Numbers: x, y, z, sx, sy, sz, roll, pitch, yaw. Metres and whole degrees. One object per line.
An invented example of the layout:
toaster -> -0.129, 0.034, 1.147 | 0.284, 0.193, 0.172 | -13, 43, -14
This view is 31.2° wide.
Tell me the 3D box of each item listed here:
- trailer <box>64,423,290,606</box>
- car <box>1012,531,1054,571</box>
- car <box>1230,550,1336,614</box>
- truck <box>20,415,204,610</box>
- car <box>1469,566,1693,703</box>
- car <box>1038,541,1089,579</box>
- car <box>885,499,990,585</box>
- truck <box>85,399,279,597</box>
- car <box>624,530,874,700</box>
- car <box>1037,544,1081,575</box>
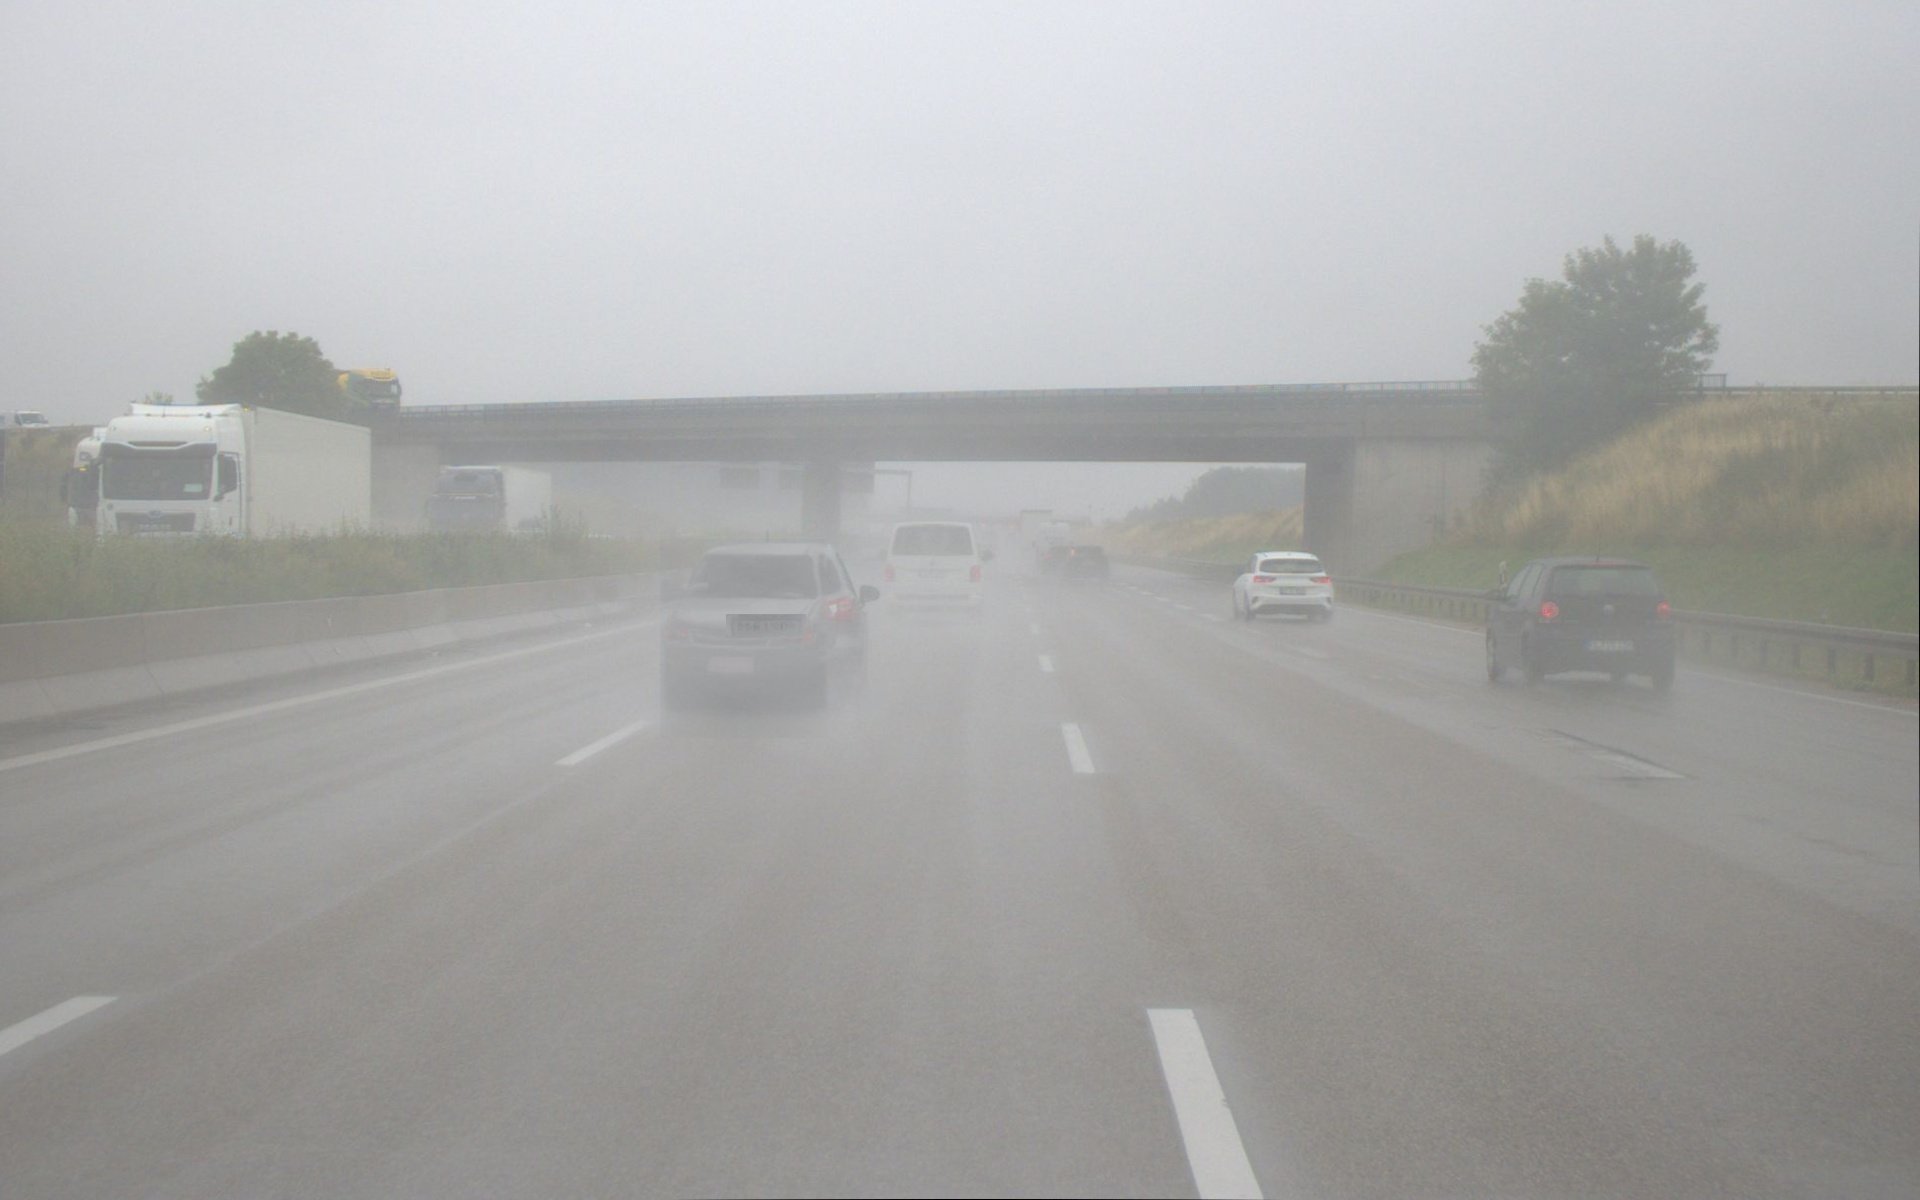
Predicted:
trailer -> -19.642, -2.137, 87.206 | 2.818, 4.237, 13.239 | 1, 1, -1
car -> 3.990, -2.686, 188.541 | 1.993, 2.094, 4.000 | 1, 1, -2
car -> 6.725, -0.383, 71.882 | 1.994, 1.262, 4.000 | 1, 0, 3
truck -> -19.568, -2.017, 79.599 | 2.759, 4.280, 5.840 | 1, 1, 0
car -> 6.966, 0.356, 38.870 | 1.731, 1.416, 3.658 | 1, 1, -2
car -> 4.187, -1.610, 139.352 | 1.801, 1.503, 4.000 | 1, 0, -2
car -> -0.407, -1.094, 66.306 | 1.897, 1.580, 4.000 | 1, 0, 1
truck -> -15.793, -2.055, 70.095 | 2.759, 3.834, 4.819 | 1, 1, 1
car -> -1.941, 0.098, 33.061 | 1.846, 1.508, 4.756 | 0, 1, 3
car -> 4.781, -1.962, 166.083 | 1.993, 1.459, 4.000 | 1, 1, 1
